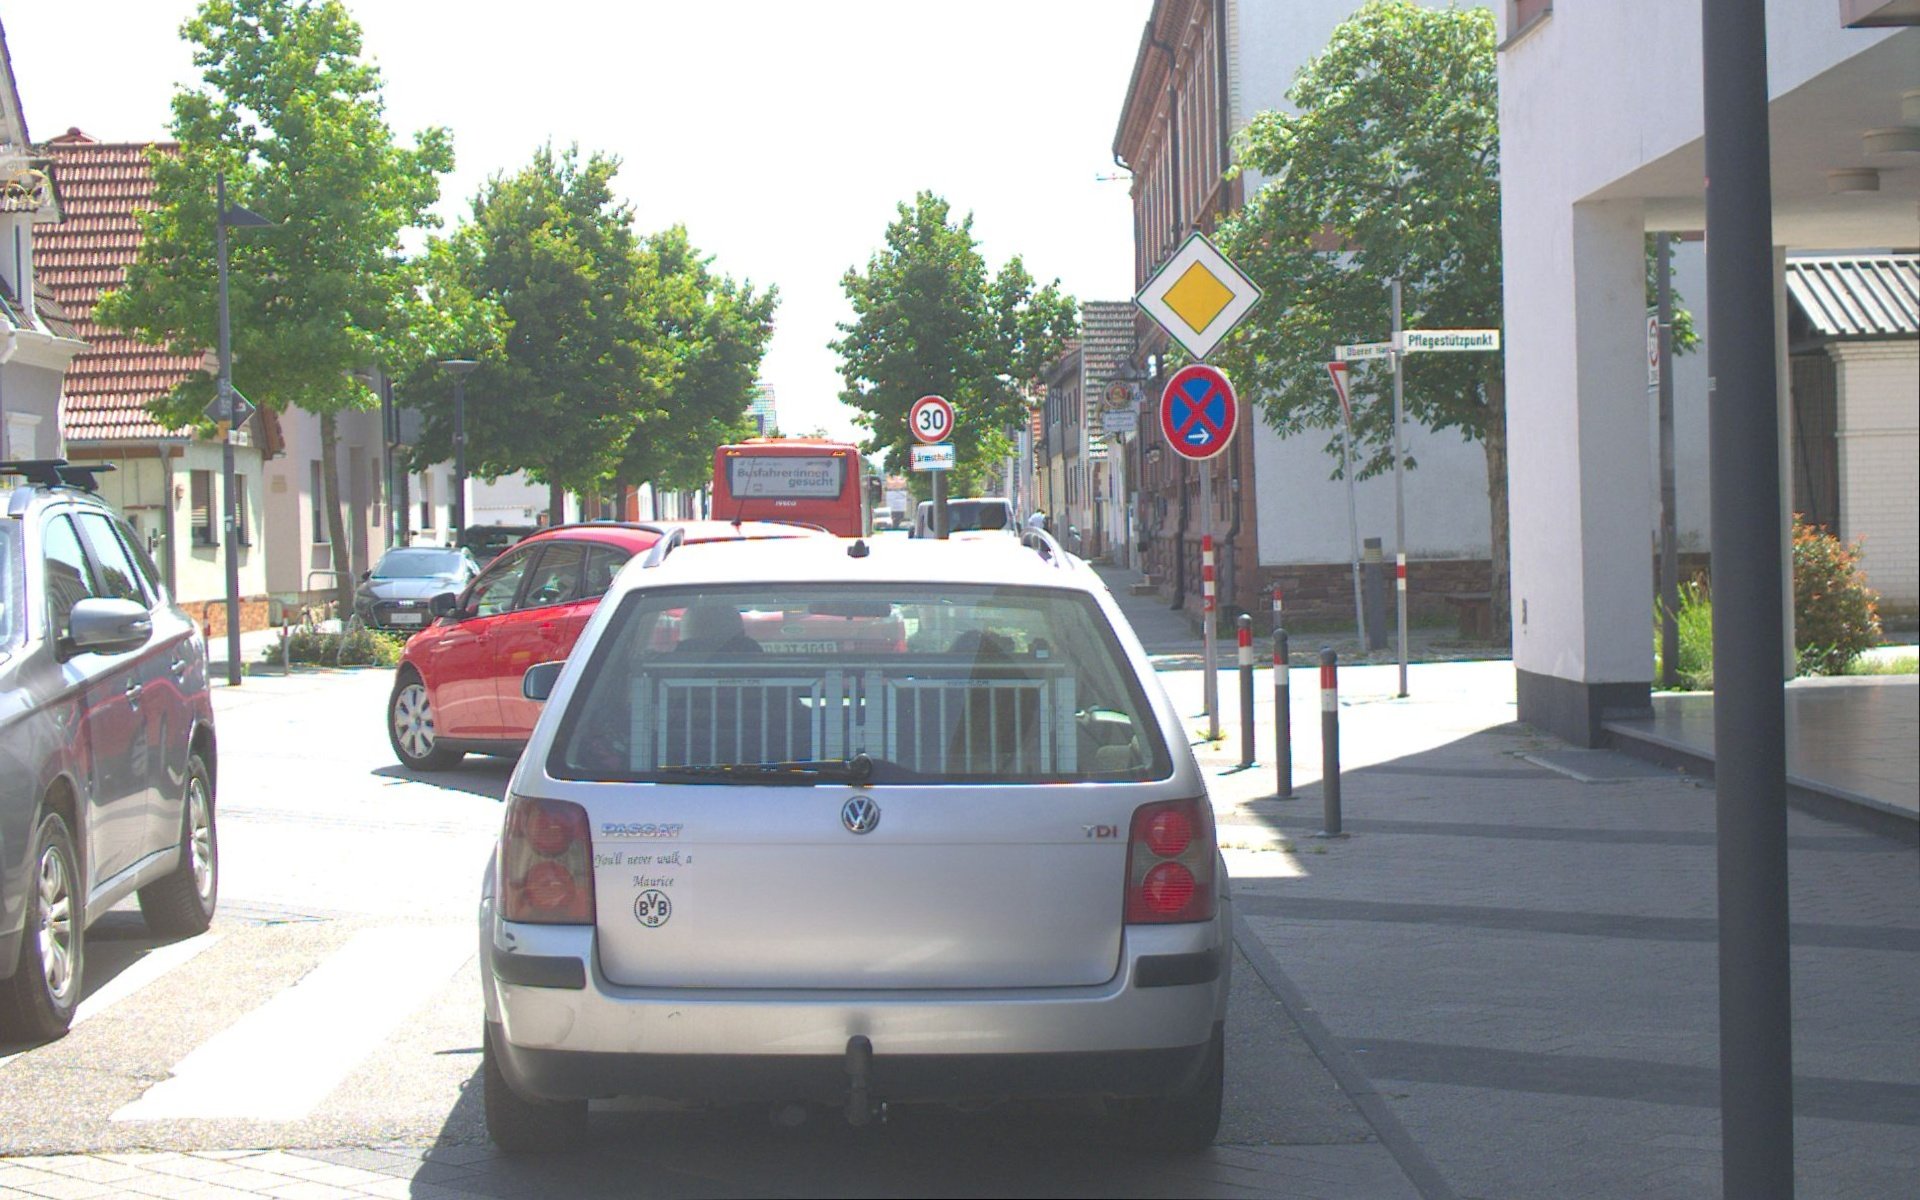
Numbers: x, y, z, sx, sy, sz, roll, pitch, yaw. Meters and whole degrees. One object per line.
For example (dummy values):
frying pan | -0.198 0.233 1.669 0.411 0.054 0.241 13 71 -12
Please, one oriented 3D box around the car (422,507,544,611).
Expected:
car | -8.861 -0.777 64.125 1.764 1.831 3.789 -2 1 -1

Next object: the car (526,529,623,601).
car | -8.813 -0.824 78.848 1.811 1.553 4.000 -2 1 -1

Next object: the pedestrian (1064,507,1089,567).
pedestrian | 3.278 -1.767 96.619 0.606 1.661 0.789 -2 1 -2

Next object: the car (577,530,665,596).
car | -8.415 -0.932 85.587 1.811 1.553 4.000 -2 1 -1

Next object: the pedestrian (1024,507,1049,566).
pedestrian | 2.160 -1.791 97.238 0.606 1.661 0.789 -2 1 -2

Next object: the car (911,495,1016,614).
car | 0.033 -0.851 63.203 1.787 2.075 3.626 -2 1 -1

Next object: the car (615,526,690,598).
car | -8.739 -1.105 98.025 1.811 1.989 4.000 -2 1 -1

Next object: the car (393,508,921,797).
car | -1.797 0.238 19.289 1.677 1.425 3.680 -2 1 -27

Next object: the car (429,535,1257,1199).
car | -0.270 0.561 8.881 1.677 1.425 3.680 1 1 -1

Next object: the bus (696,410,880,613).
bus | -2.979 -1.568 62.987 2.740 3.287 12.706 -1 1 0

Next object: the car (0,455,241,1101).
car | -3.502 0.451 11.139 1.674 1.710 4.233 -2 1 -4

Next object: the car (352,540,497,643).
car | -8.081 -0.160 52.193 1.605 1.433 4.065 -2 1 -1

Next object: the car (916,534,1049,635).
car | 0.281 -0.240 47.915 1.719 1.304 3.626 -2 1 -1
